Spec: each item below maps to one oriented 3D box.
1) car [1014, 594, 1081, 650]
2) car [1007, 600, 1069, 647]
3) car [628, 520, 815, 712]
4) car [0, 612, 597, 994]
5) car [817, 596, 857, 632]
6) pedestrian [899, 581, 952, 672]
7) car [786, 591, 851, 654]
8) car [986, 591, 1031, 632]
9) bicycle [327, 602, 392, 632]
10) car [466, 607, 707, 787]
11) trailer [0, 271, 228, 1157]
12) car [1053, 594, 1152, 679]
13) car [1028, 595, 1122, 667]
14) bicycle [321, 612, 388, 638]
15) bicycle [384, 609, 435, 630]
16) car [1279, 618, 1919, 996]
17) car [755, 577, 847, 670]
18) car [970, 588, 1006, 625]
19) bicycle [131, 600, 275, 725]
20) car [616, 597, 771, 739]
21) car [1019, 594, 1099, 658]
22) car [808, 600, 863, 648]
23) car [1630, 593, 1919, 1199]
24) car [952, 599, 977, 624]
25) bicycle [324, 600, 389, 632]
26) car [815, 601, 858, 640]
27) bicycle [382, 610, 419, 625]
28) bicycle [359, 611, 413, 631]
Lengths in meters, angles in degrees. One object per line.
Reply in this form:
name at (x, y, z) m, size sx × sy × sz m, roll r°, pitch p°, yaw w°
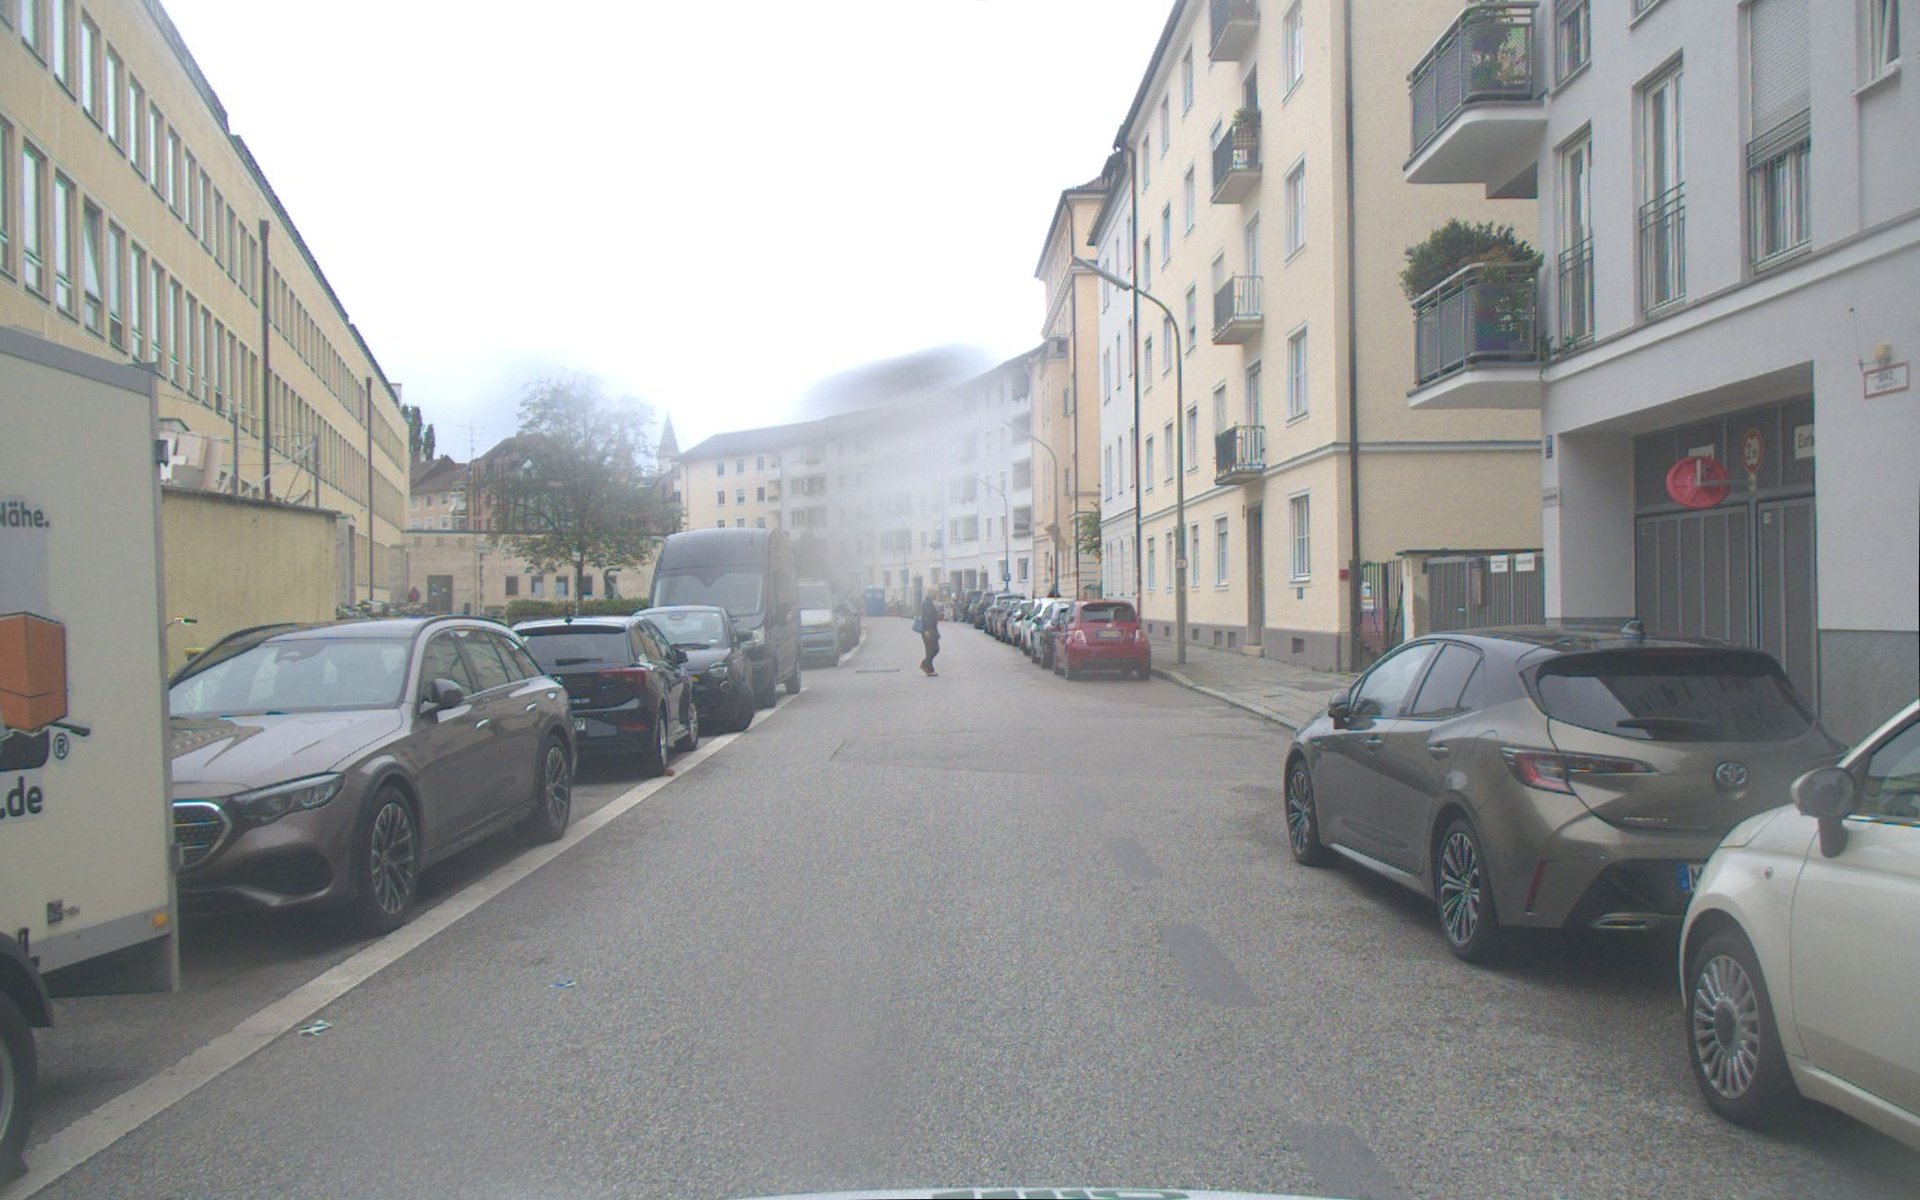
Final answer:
car at (2.517, 0.613, 48.253) m, size 1.567 × 1.517 × 3.797 m, roll -1°, pitch 1°, yaw -3°
car at (2.486, 0.750, 53.423) m, size 1.658 × 1.457 × 3.943 m, roll 1°, pitch 0°, yaw -2°
car at (-3.594, 0.195, 25.983) m, size 2.045 × 2.682 × 5.377 m, roll -1°, pitch 1°, yaw 1°
car at (-3.534, 0.902, 9.434) m, size 1.730 × 1.565 × 4.542 m, roll -3°, pitch 0°, yaw 2°
car at (-5.202, 0.568, 70.477) m, size 1.591 × 1.444 × 3.979 m, roll -2°, pitch 0°, yaw -3°
pedestrian at (-0.663, 0.520, 32.194) m, size 0.661 × 1.758 × 0.791 m, roll -1°, pitch -2°, yaw 42°
car at (-4.182, 0.635, 49.363) m, size 1.667 × 1.720 × 4.026 m, roll -3°, pitch 1°, yaw -2°
car at (1.967, 0.458, 67.831) m, size 1.558 × 1.610 × 4.297 m, roll 1°, pitch 0°, yaw -2°
bicycle at (-21.575, 0.602, 59.415) m, size 2.172 × 1.056 × 0.492 m, roll -1°, pitch -1°, yaw -20°
car at (-3.491, 0.838, 16.102) m, size 1.667 × 1.471 × 3.822 m, roll 0°, pitch 1°, yaw -3°
trailer at (-3.599, 0.346, 3.756) m, size 1.674 × 2.504 × 4.388 m, roll -3°, pitch 0°, yaw 2°
car at (2.740, 0.673, 32.537) m, size 1.563 × 1.535 × 3.800 m, roll -1°, pitch 0°, yaw -1°
car at (2.557, 0.680, 37.671) m, size 1.658 × 1.517 × 4.341 m, roll -1°, pitch 0°, yaw -2°
bicycle at (-20.977, 0.870, 57.324) m, size 2.172 × 0.849 × 0.492 m, roll -1°, pitch -1°, yaw -20°
bicycle at (-25.095, 0.899, 75.418) m, size 2.172 × 0.911 × 0.644 m, roll -1°, pitch -1°, yaw -20°
car at (3.001, 0.822, 8.482) m, size 1.728 × 1.432 × 4.075 m, roll 0°, pitch 0°, yaw -3°
car at (-3.674, 0.496, 38.889) m, size 1.845 × 1.965 × 4.598 m, roll -3°, pitch 1°, yaw -3°
car at (1.280, 0.285, 77.685) m, size 1.444 × 1.669 × 3.999 m, roll 1°, pitch 0°, yaw -2°
bicycle at (-7.838, 0.617, 17.204) m, size 0.663 × 1.213 × 1.777 m, roll 0°, pitch 0°, yaw 1°
car at (-3.263, 0.775, 20.752) m, size 1.554 × 1.565 × 3.541 m, roll -1°, pitch 1°, yaw -4°
car at (2.540, 0.636, 43.321) m, size 1.658 × 1.517 × 4.281 m, roll -1°, pitch 1°, yaw -2°
car at (-4.086, 0.759, 54.654) m, size 1.591 × 1.437 × 3.797 m, roll -3°, pitch 0°, yaw -2°
car at (3.108, 0.771, 3.970) m, size 1.488 × 1.557 × 3.525 m, roll 1°, pitch 0°, yaw -1°
car at (0.238, 0.616, 89.609) m, size 1.246 × 1.321 × 2.796 m, roll 0°, pitch 0°, yaw -2°
bicycle at (-22.581, 0.589, 61.938) m, size 2.210 × 1.189 × 1.042 m, roll 0°, pitch 0°, yaw -17°
car at (-4.832, 0.778, 65.020) m, size 1.592 × 1.444 × 3.978 m, roll -2°, pitch 0°, yaw -4°
bicycle at (-27.895, 0.887, 82.469) m, size 1.711 × 0.727 × 0.611 m, roll -1°, pitch -1°, yaw -20°
bicycle at (-24.922, 0.905, 71.825) m, size 2.172 × 0.849 × 0.492 m, roll -1°, pitch -1°, yaw -20°
